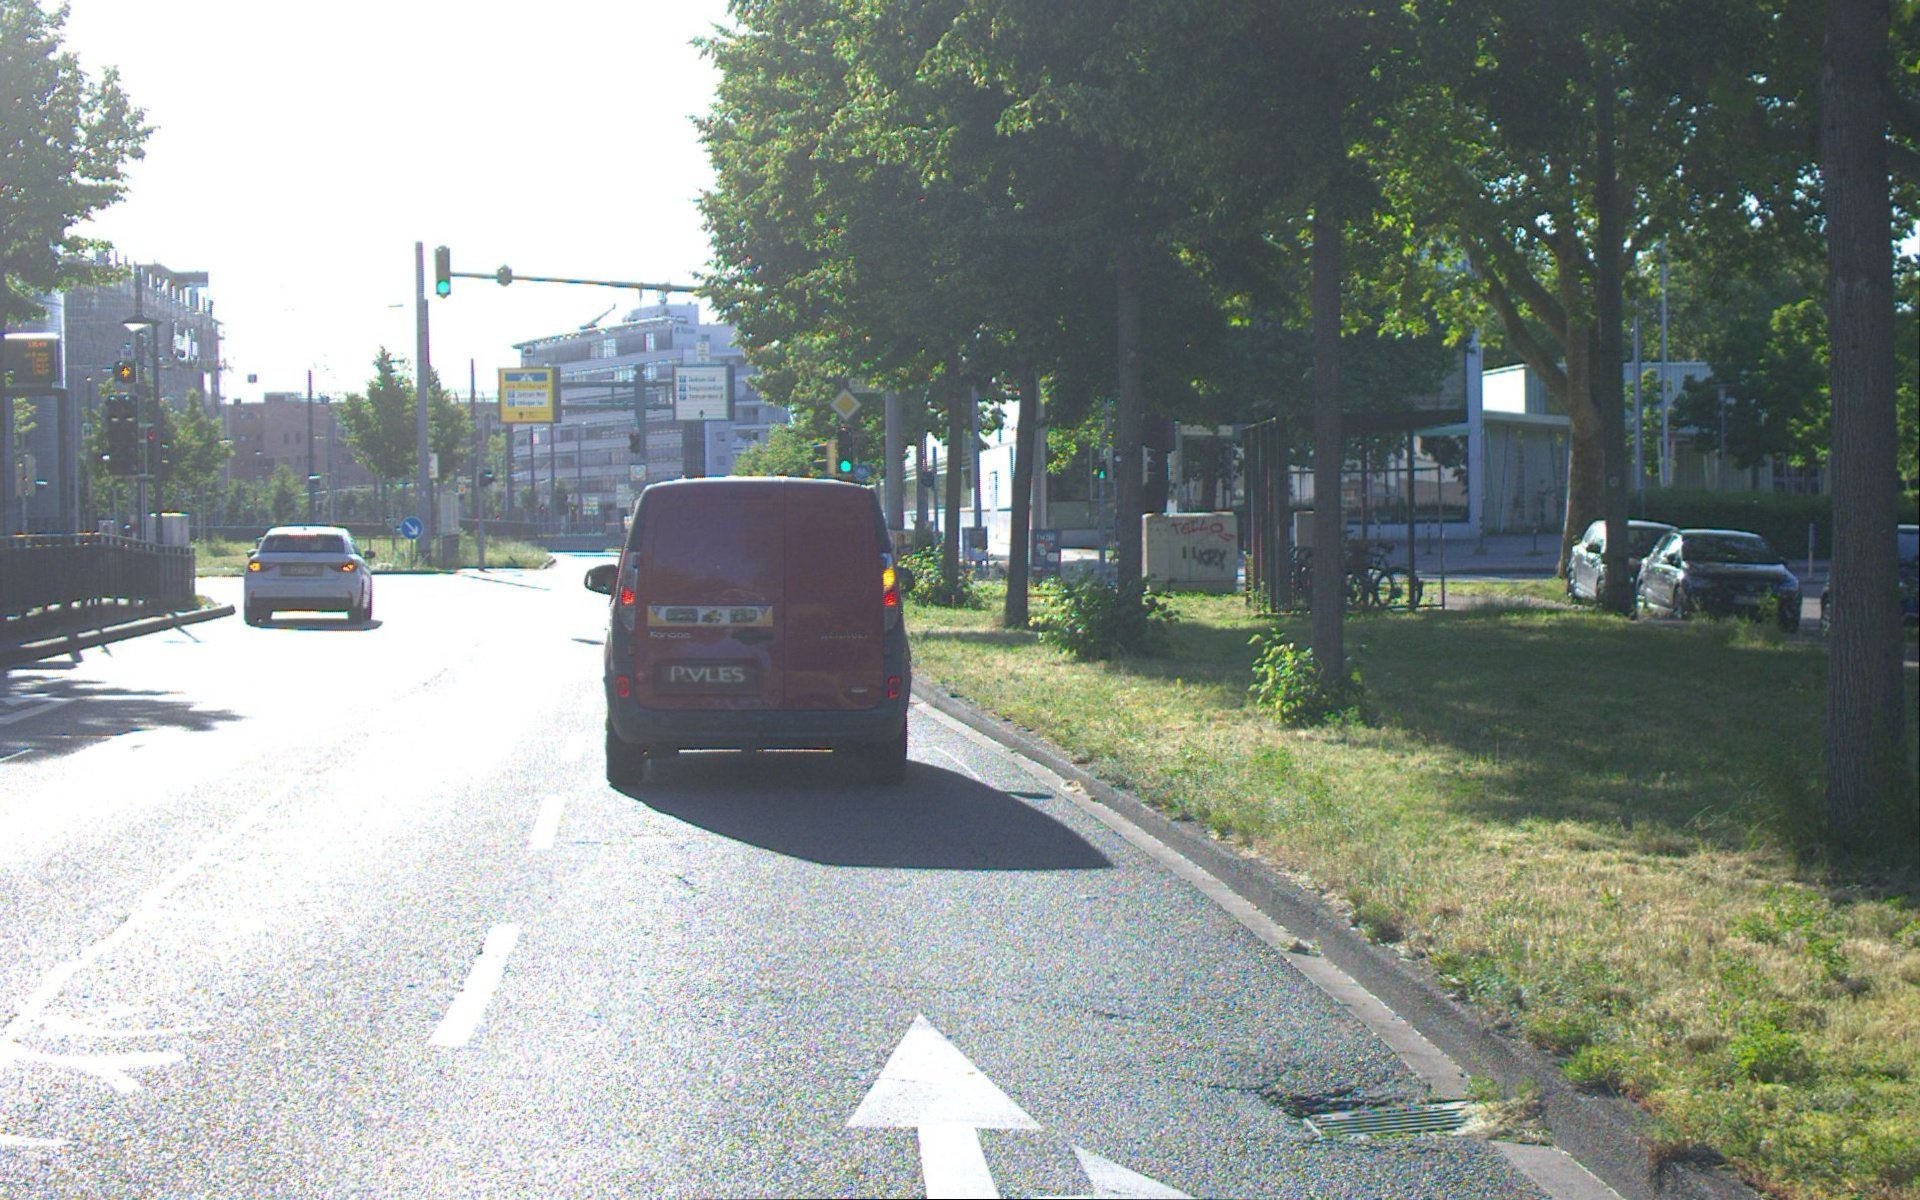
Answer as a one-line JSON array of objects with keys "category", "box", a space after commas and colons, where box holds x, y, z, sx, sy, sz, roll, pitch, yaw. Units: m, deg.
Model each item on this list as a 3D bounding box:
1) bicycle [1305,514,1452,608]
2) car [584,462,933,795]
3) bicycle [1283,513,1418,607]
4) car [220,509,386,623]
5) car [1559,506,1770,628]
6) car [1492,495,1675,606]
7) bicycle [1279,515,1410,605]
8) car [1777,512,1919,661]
[{"category": "bicycle", "box": [5.673, -0.538, 46.634, 1.917, 1.264, 0.479, 0, 1, -3]}, {"category": "car", "box": [-1.333, 0.134, 21.127, 1.808, 1.831, 4.001, 1, 1, -8]}, {"category": "bicycle", "box": [5.387, -0.556, 47.482, 1.778, 1.264, 0.479, 1, 1, -3]}, {"category": "car", "box": [-9.805, -0.513, 51.560, 1.993, 1.612, 4.001, 1, 1, -5]}, {"category": "car", "box": [10.216, -0.489, 50.121, 1.871, 1.678, 4.001, 1, 1, -6]}, {"category": "car", "box": [9.868, -0.784, 54.658, 1.871, 1.678, 4.001, 1, 1, -5]}, {"category": "bicycle", "box": [5.433, -0.563, 48.637, 1.778, 1.264, 0.479, 0, 1, -3]}, {"category": "car", "box": [11.336, -0.173, 40.983, 1.871, 1.678, 4.001, 1, 1, -6]}]
